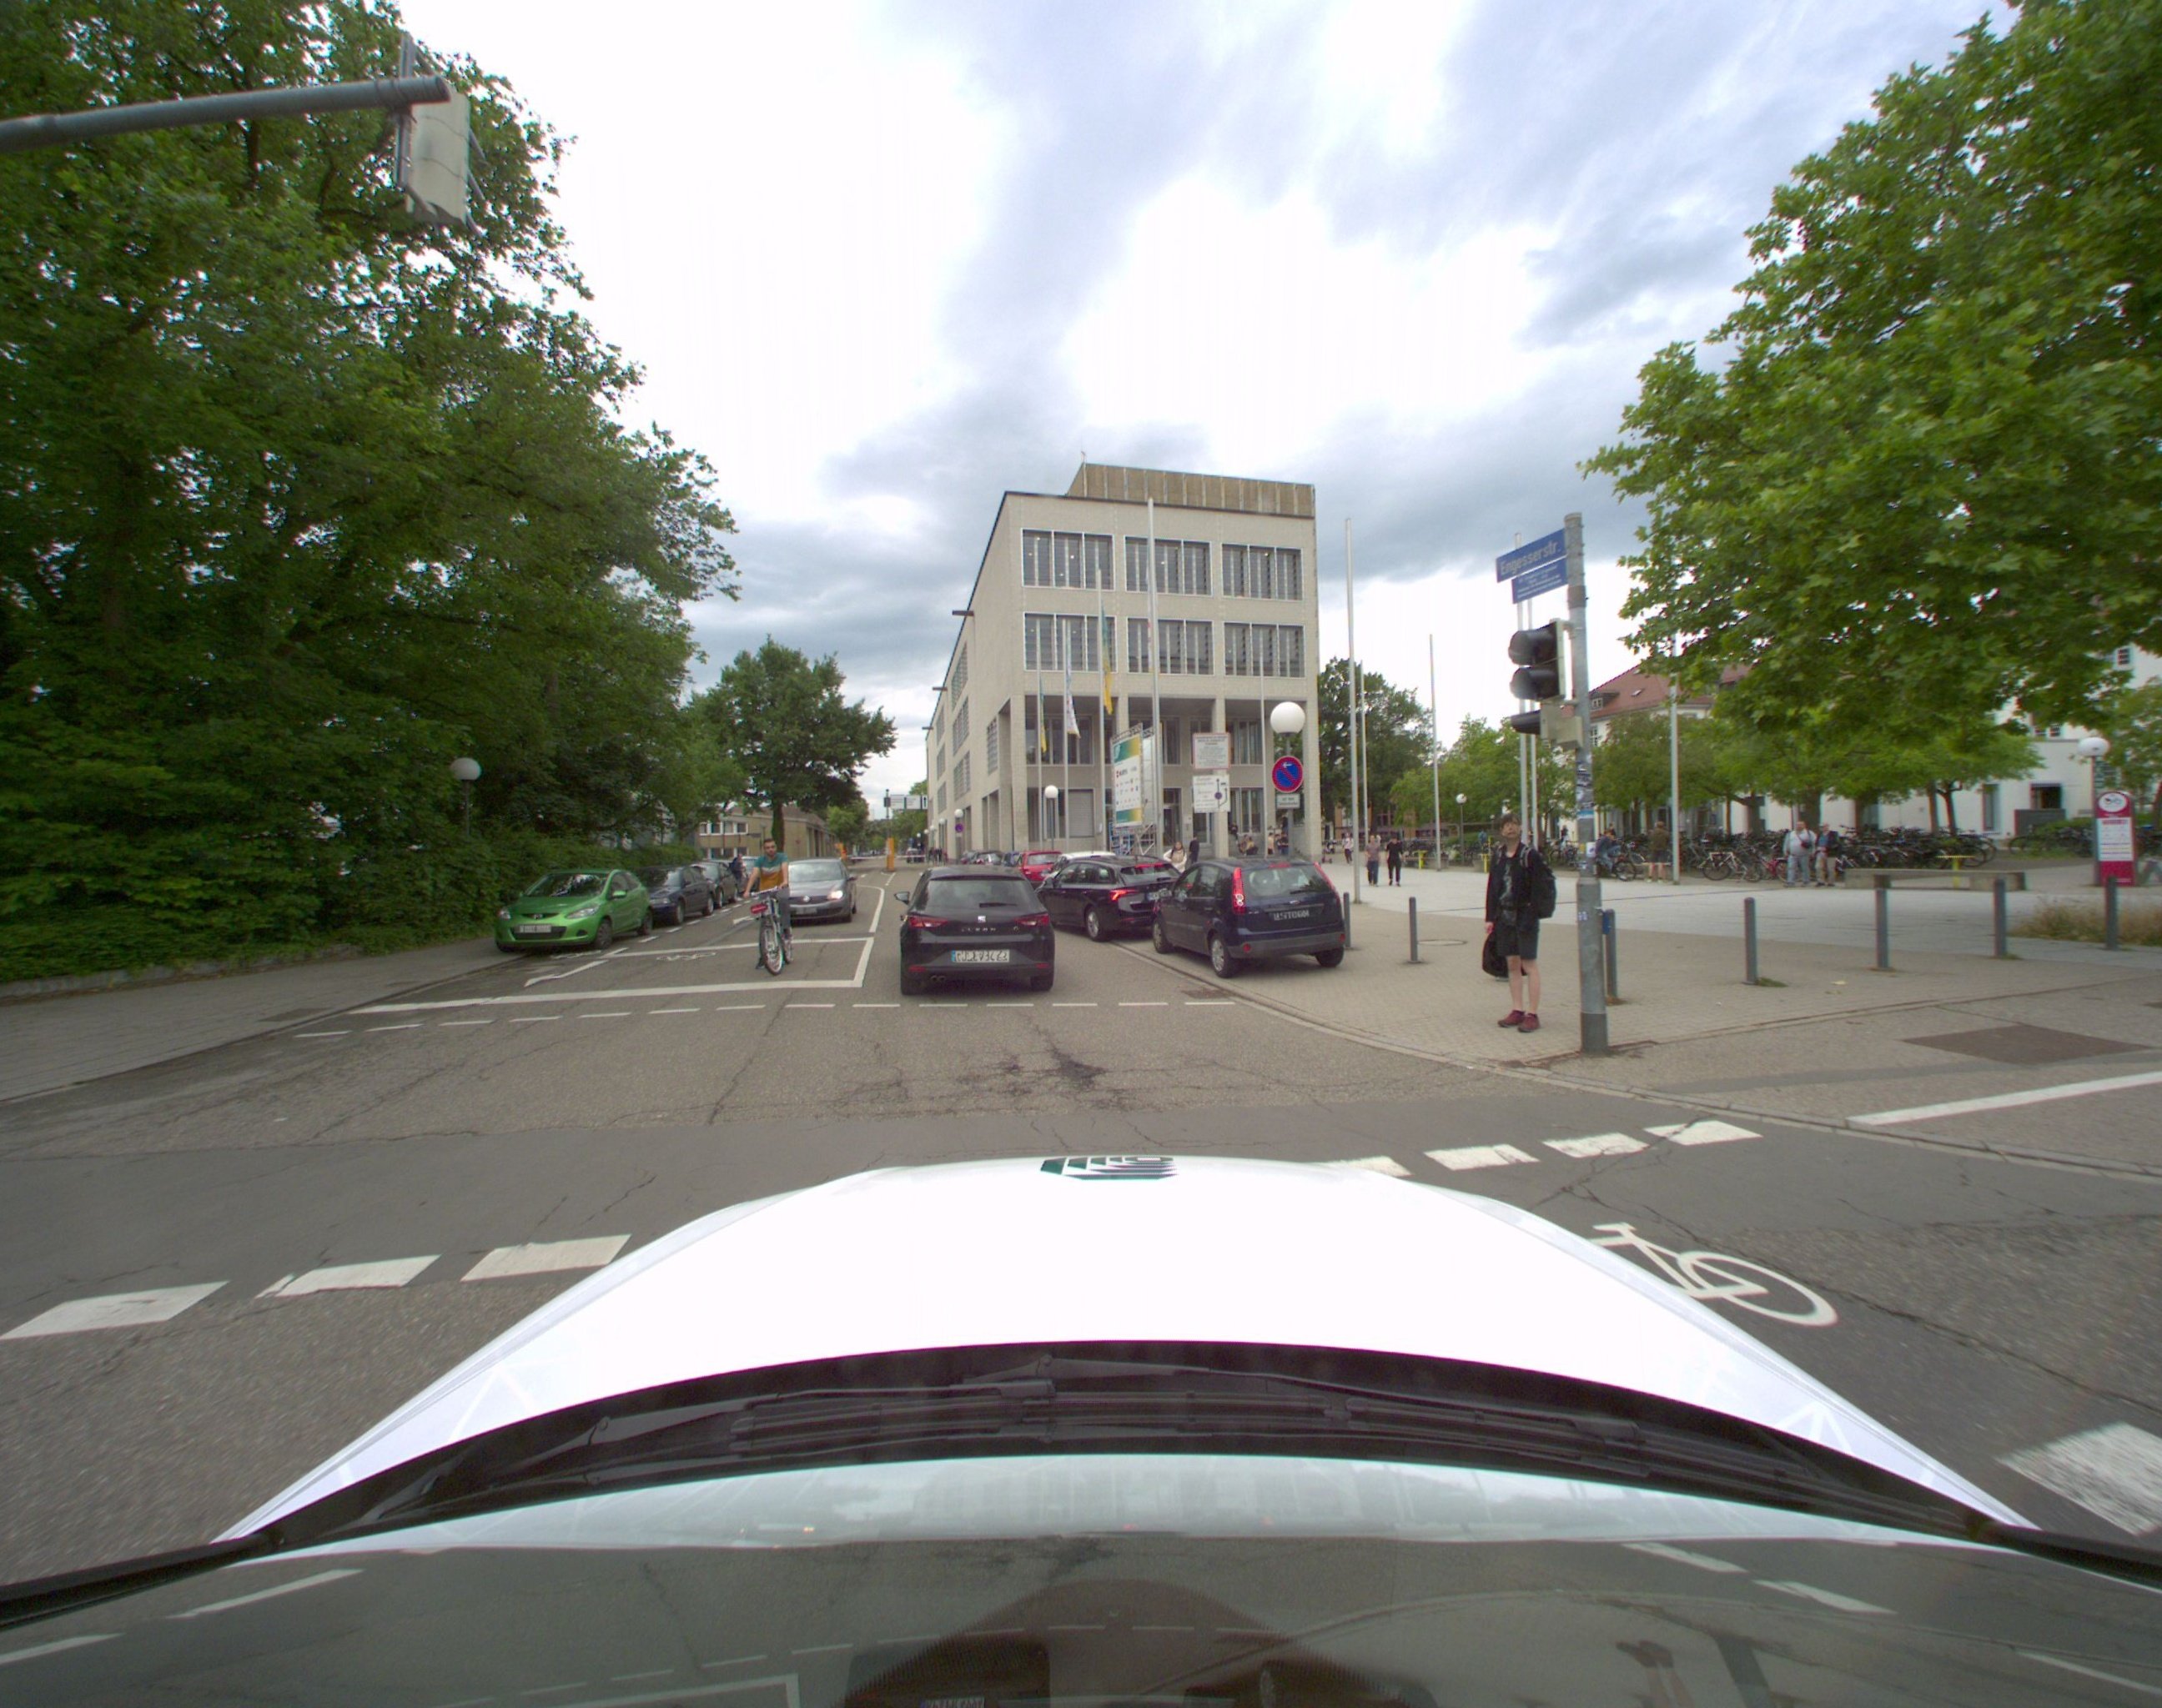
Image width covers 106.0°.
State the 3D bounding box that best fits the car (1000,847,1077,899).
[{"bbox_3d":[-1.475,0.549,26.571,1.714,1.473,4.255,-3,1,-13],"label":"car"}]

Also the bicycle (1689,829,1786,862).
[{"bbox_3d":[24.766,-0.325,30.841,0.746,1.170,3.096,-1,0,-11],"label":"bicycle"}]

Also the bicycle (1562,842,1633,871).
[{"bbox_3d":[23.033,0.082,36.430,0.746,1.169,3.097,0,2,-11],"label":"bicycle"}]

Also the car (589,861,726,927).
[{"bbox_3d":[-10.612,0.924,20.787,1.797,1.408,4.322,-1,0,-9],"label":"car"}]

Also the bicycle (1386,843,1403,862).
[{"bbox_3d":[18.283,-0.093,47.552,0.866,1.093,1.810,0,1,20],"label":"bicycle"}]

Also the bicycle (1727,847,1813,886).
[{"bbox_3d":[19.589,0.341,23.201,0.457,1.049,1.924,-2,1,-17],"label":"bicycle"}]

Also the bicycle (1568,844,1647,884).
[{"bbox_3d":[17.035,0.292,26.413,0.457,1.169,2.400,0,2,-17],"label":"bicycle"}]

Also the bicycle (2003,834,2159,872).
[{"bbox_3d":[34.709,-0.065,28.396,1.051,1.169,3.386,0,2,-7],"label":"bicycle"}]

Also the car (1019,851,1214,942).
[{"bbox_3d":[0.499,0.705,15.884,1.870,1.401,4.441,-4,2,-26],"label":"car"}]

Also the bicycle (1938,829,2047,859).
[{"bbox_3d":[38.347,-0.468,34.357,0.746,1.169,3.097,0,2,-11],"label":"bicycle"}]

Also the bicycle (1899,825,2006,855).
[{"bbox_3d":[36.043,-0.614,33.775,0.746,1.169,3.097,0,2,-11],"label":"bicycle"}]

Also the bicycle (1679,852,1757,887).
[{"bbox_3d":[20.080,0.454,25.720,0.458,1.049,1.919,-2,1,-27],"label":"bicycle"}]

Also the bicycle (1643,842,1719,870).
[{"bbox_3d":[27.679,0.081,37.650,0.746,1.169,3.095,0,2,-12],"label":"bicycle"}]

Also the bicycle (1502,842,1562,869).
[{"bbox_3d":[21.995,0.034,39.816,0.746,1.169,3.097,0,2,-11],"label":"bicycle"}]

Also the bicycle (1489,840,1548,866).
[{"bbox_3d":[21.235,-0.079,39.621,0.746,1.169,3.097,0,2,-11],"label":"bicycle"}]

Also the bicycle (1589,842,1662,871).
[{"bbox_3d":[24.537,0.083,36.798,0.746,1.169,3.097,0,2,-11],"label":"bicycle"}]

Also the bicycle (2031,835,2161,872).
[{"bbox_3d":[35.970,-0.059,28.584,1.051,1.169,3.386,0,2,-7],"label":"bicycle"}]

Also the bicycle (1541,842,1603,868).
[{"bbox_3d":[24.522,0.022,40.756,0.746,1.169,3.097,0,2,-11],"label":"bicycle"}]

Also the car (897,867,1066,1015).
[{"bbox_3d":[-1.485,0.940,10.666,1.784,1.419,4.112,-1,0,-13],"label":"car"}]

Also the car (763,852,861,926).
[{"bbox_3d":[-6.212,0.741,19.223,1.785,1.497,4.149,-1,0,-13],"label":"car"}]

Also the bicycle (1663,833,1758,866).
[{"bbox_3d":[23.598,-0.164,30.631,0.746,1.170,3.096,-1,0,-11],"label":"bicycle"}]

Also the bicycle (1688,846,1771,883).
[{"bbox_3d":[19.379,0.290,24.373,0.458,1.049,1.918,-2,1,-27],"label":"bicycle"}]

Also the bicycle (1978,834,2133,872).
[{"bbox_3d":[33.410,-0.064,28.045,1.051,1.169,3.386,0,2,-7],"label":"bicycle"}]

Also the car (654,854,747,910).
[{"bbox_3d":[-12.180,0.826,26.356,1.800,1.560,4.510,-1,1,-13],"label":"car"}]

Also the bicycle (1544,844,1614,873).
[{"bbox_3d":[22.124,0.178,36.289,0.746,1.169,3.097,0,2,-11],"label":"bicycle"}]

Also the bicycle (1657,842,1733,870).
[{"bbox_3d":[28.441,0.082,37.807,0.746,1.169,3.095,0,2,-12],"label":"bicycle"}]

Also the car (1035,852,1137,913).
[{"bbox_3d":[0.039,0.682,21.669,1.863,1.453,3.841,-1,0,-13],"label":"car"}]

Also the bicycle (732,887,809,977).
[{"bbox_3d":[-4.209,1.011,11.158,0.657,1.037,1.850,-1,0,-11],"label":"bicycle"}]

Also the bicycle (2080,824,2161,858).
[{"bbox_3d":[38.174,-0.469,28.910,1.051,1.170,3.385,-1,0,-7],"label":"bicycle"}]

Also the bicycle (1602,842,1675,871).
[{"bbox_3d":[25.285,0.081,37.042,0.746,1.169,3.097,0,2,-11],"label":"bicycle"}]

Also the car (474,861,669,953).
[{"bbox_3d":[-9.711,0.910,15.940,1.799,1.469,4.232,-1,0,-11],"label":"car"}]

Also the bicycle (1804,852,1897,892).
[{"bbox_3d":[21.672,0.475,22.976,0.457,1.049,1.924,-2,1,-17],"label":"bicycle"}]

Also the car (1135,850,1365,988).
[{"bbox_3d":[2.144,0.763,11.571,1.623,1.501,4.088,-3,0,-12],"label":"car"}]

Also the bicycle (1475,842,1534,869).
[{"bbox_3d":[20.463,0.065,39.460,0.746,1.169,3.097,0,2,-11],"label":"bicycle"}]

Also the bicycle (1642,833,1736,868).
[{"bbox_3d":[22.492,-0.149,30.248,0.746,1.169,3.097,0,2,-11],"label":"bicycle"}]

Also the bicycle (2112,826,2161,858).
[{"bbox_3d":[39.684,-0.416,29.131,1.051,1.169,3.387,0,2,-7],"label":"bicycle"}]

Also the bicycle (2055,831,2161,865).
[{"bbox_3d":[37.060,-0.202,28.756,1.051,1.170,3.385,-1,-1,-7],"label":"bicycle"}]

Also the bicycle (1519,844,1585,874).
[{"bbox_3d":[20.715,0.179,35.906,0.620,1.169,3.097,0,2,-11],"label":"bicycle"}]

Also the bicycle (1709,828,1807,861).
[{"bbox_3d":[25.762,-0.388,31.100,0.746,1.169,3.097,0,2,-11],"label":"bicycle"}]
